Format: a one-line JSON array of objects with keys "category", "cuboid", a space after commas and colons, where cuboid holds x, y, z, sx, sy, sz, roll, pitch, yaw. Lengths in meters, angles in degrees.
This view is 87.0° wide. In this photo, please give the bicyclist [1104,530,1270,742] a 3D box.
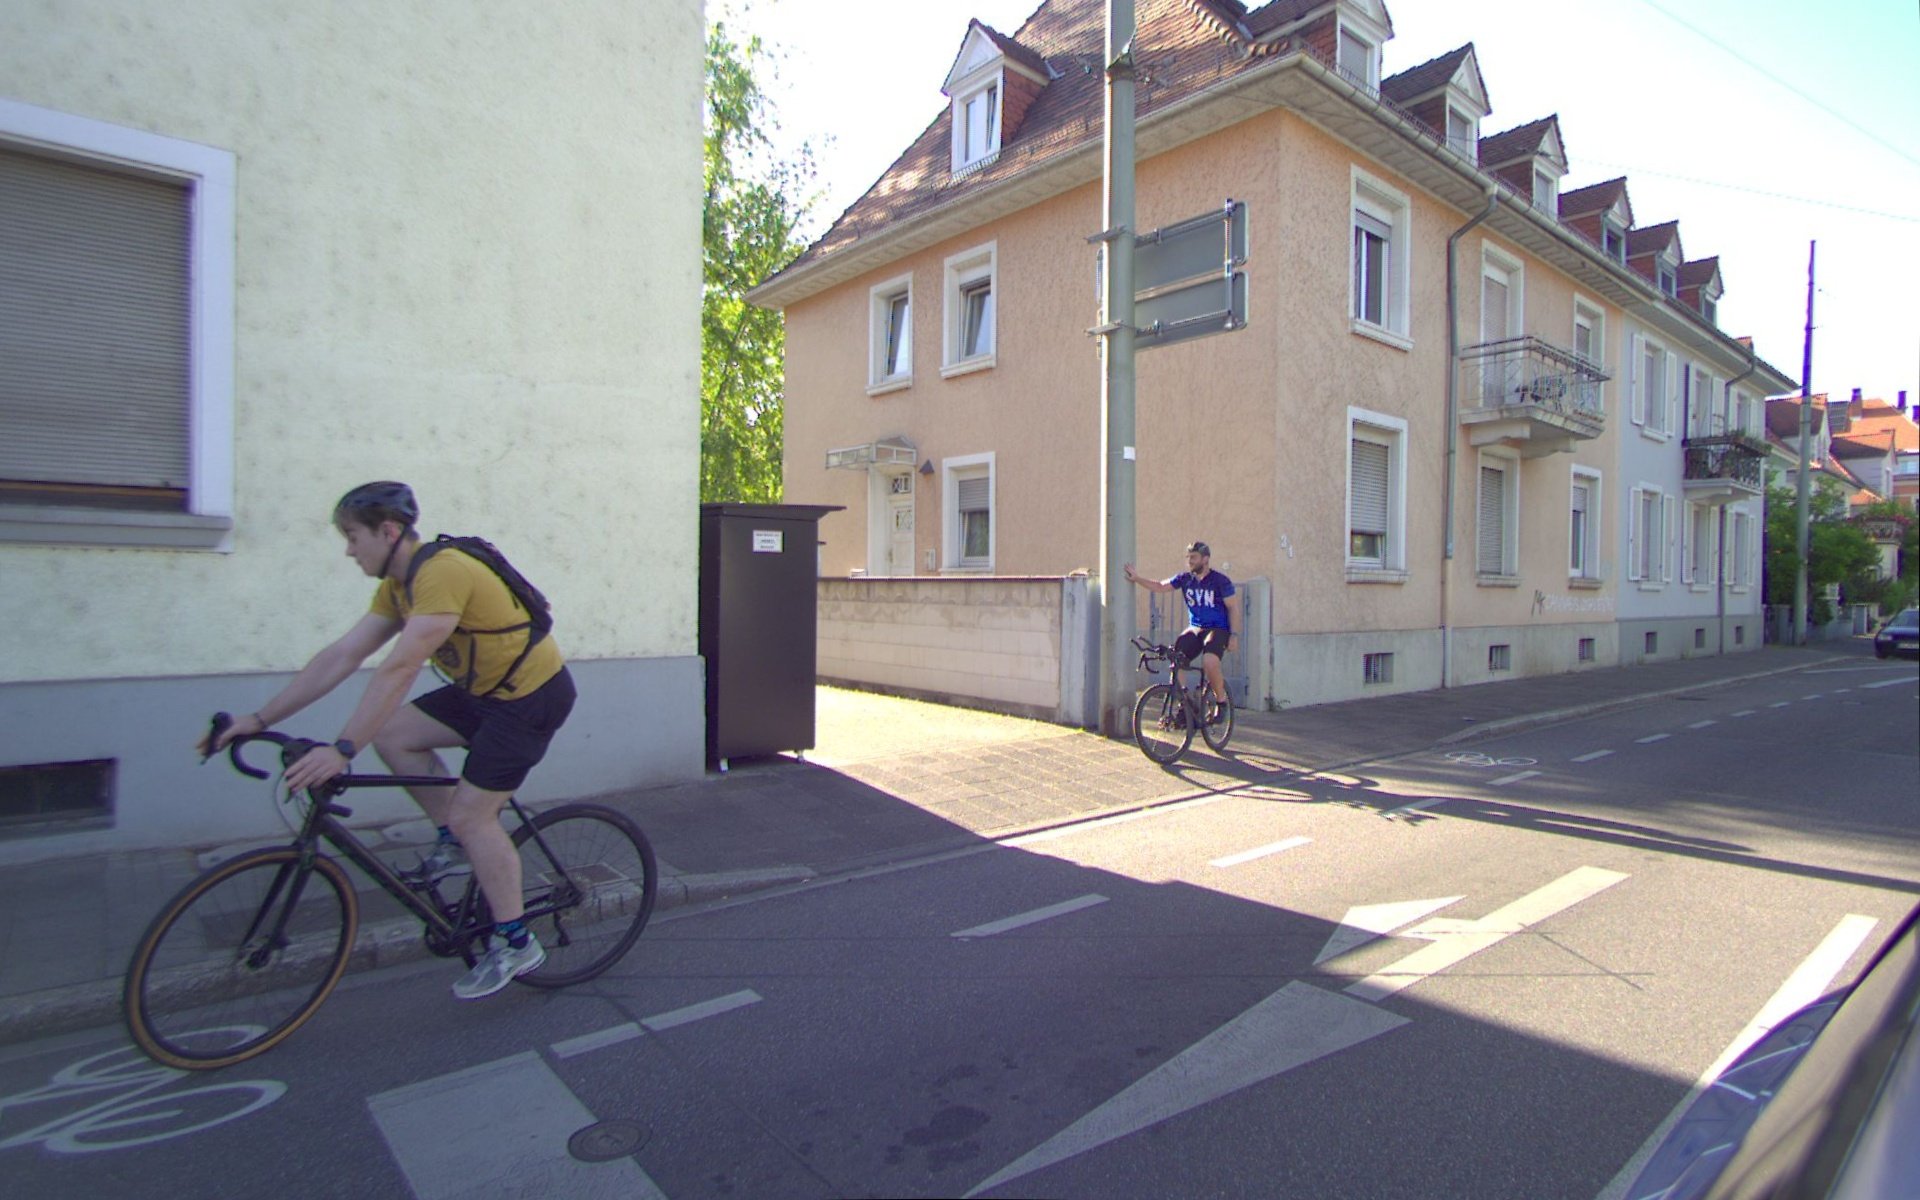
[{"category": "bicyclist", "cuboid": [2.067, 0.284, 9.285, 0.838, 1.758, 1.072, 0, 6, -40]}]

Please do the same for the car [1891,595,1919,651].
[{"category": "car", "cuboid": [26.633, 0.598, 27.320, 3.932, 1.438, 1.845, 0, 1, -42]}]

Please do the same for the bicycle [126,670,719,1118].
[{"category": "bicycle", "cuboid": [-1.814, 0.869, 3.606, 1.778, 1.101, 0.611, 0, 1, -41]}]

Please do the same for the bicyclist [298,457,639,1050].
[{"category": "bicyclist", "cuboid": [-1.687, 0.444, 3.501, 0.939, 1.743, 0.582, 0, 1, -41]}]

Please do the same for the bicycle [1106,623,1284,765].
[{"category": "bicycle", "cuboid": [2.122, 0.785, 9.030, 1.689, 1.064, 0.595, 0, 6, -41]}]
